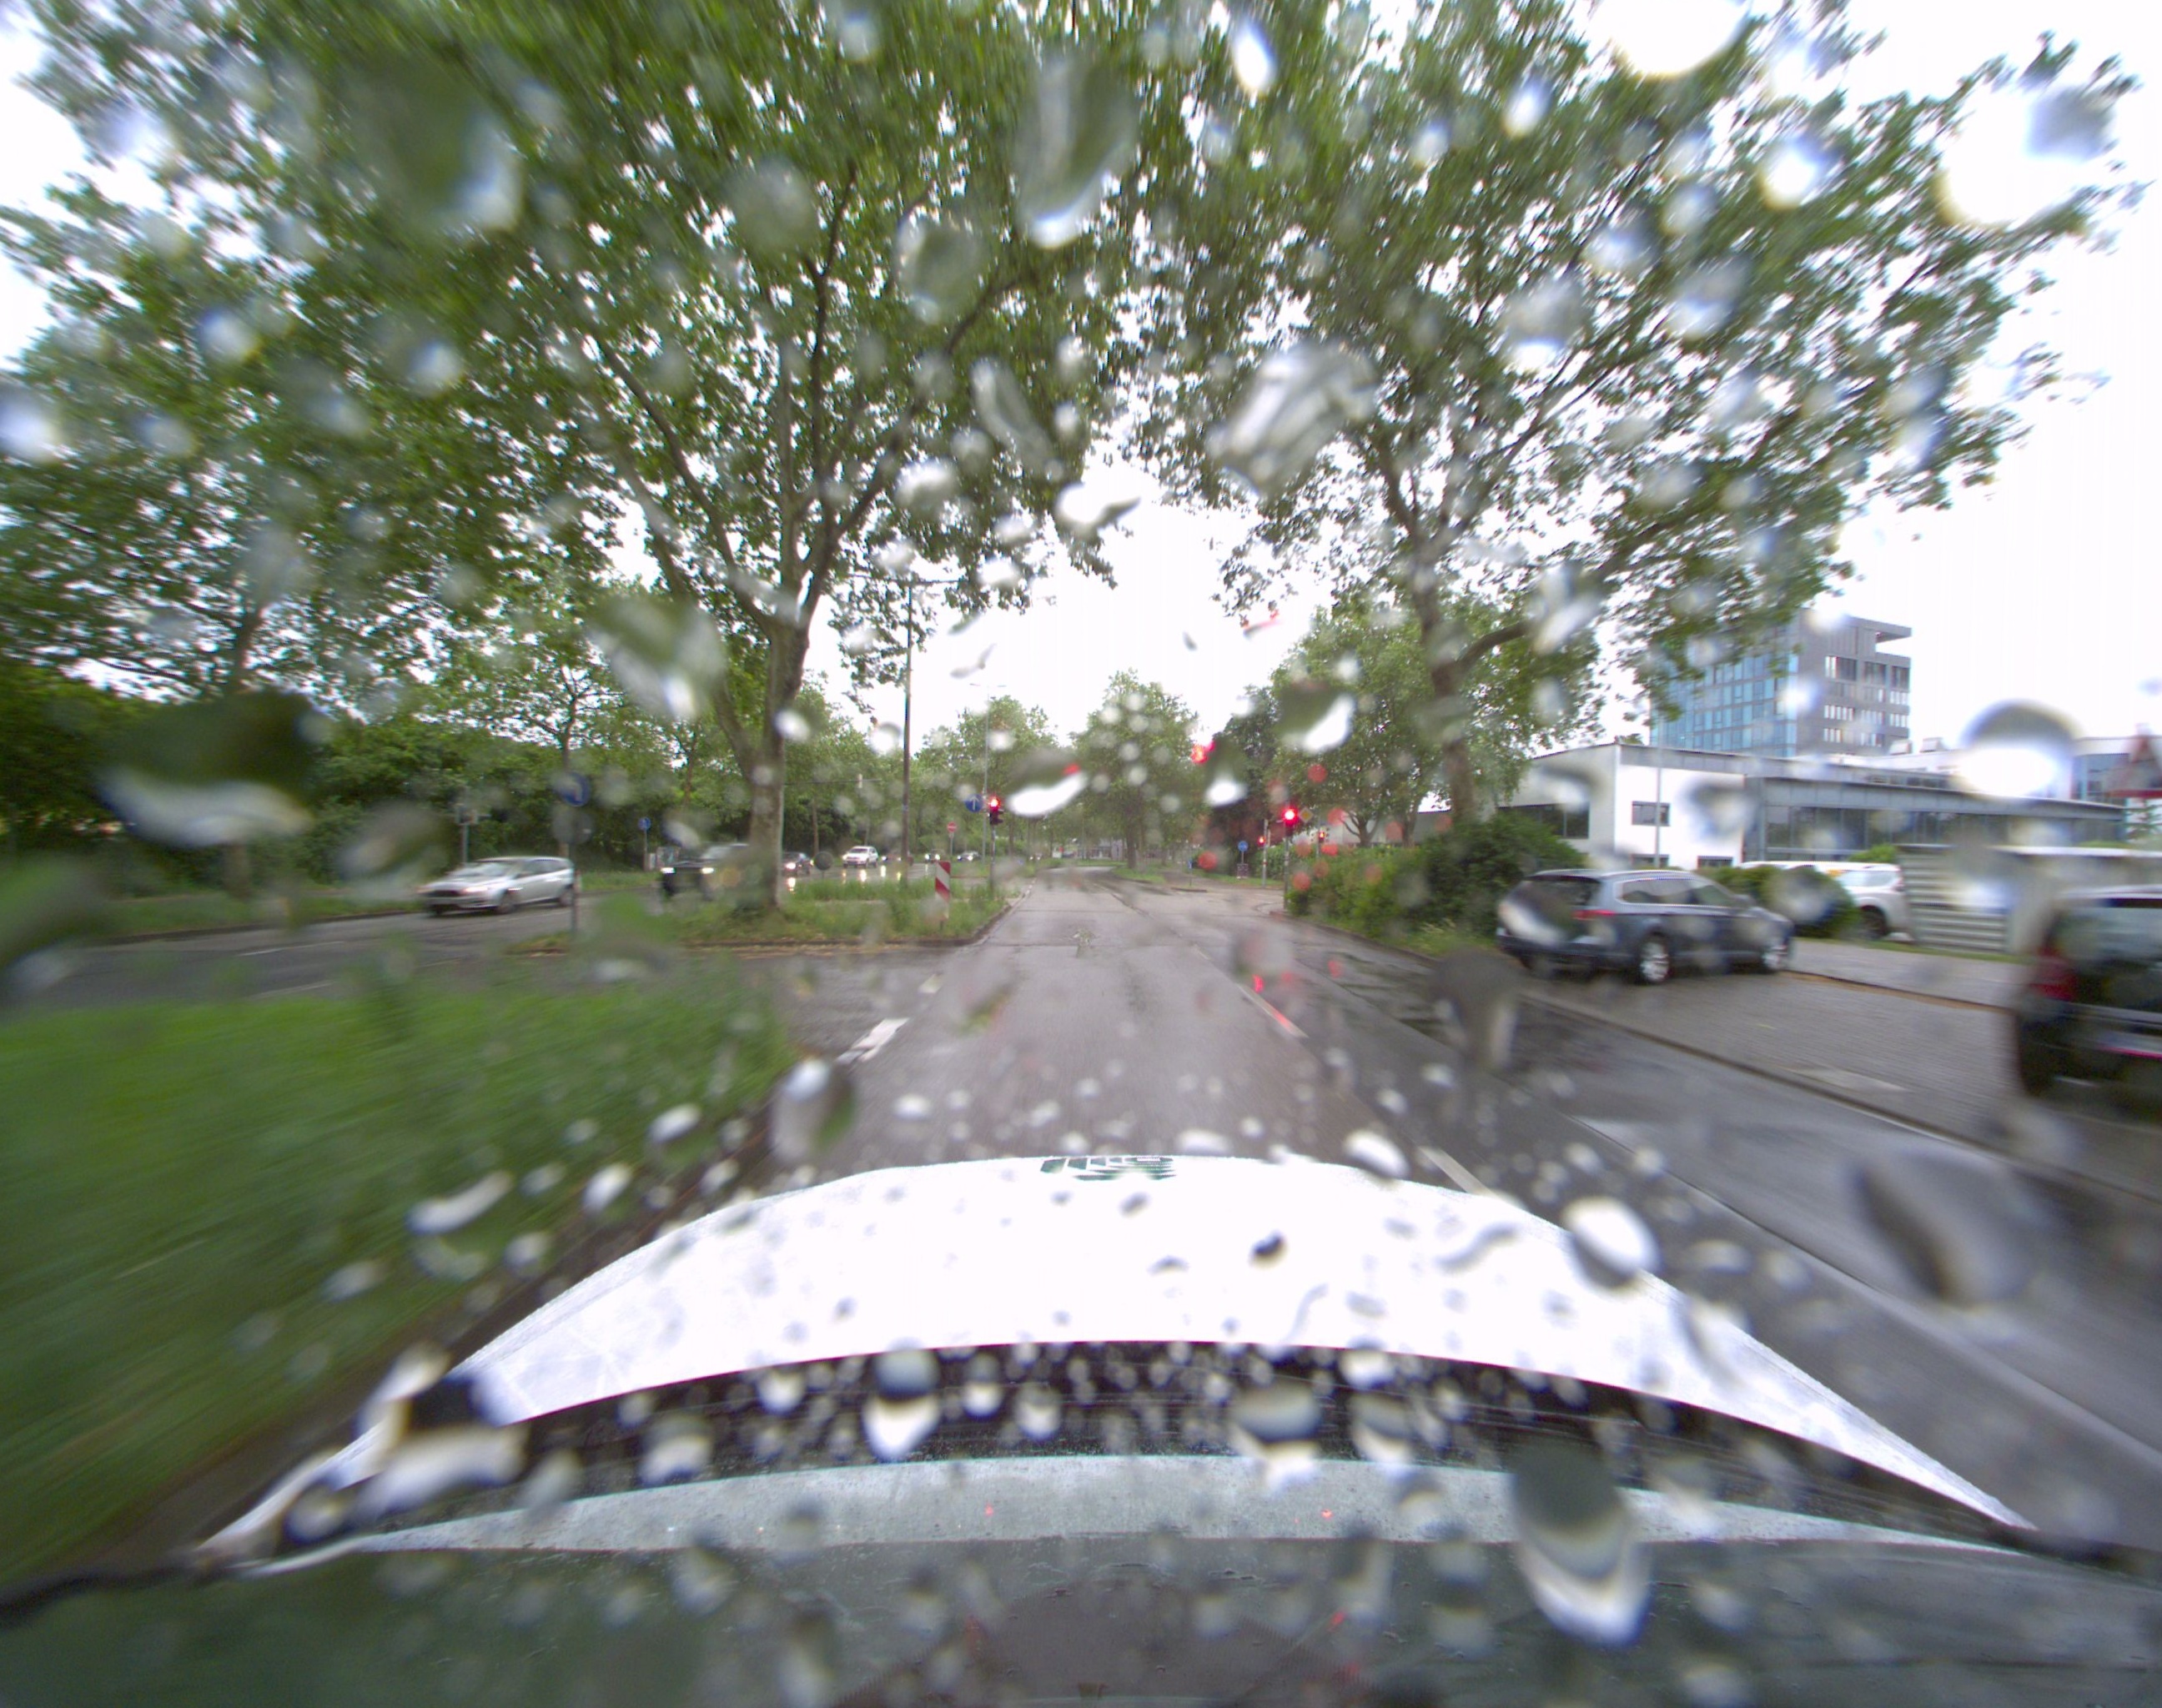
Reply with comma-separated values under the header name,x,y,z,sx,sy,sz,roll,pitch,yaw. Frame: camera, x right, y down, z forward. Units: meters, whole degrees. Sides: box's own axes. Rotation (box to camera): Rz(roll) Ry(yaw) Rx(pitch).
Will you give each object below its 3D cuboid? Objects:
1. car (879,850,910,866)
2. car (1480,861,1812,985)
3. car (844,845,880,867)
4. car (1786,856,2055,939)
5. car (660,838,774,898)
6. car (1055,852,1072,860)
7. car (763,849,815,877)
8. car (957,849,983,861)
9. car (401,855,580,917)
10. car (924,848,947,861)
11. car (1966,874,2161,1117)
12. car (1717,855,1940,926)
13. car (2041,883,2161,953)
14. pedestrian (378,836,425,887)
name,x,y,z,sx,sy,sz,roll,pitch,yaw
car,-16.692,0.360,73.192,1.738,1.408,4.443,1,0,0
car,7.963,0.871,11.449,4.501,1.459,1.735,1,0,-24
car,-16.969,0.173,63.294,1.739,1.631,4.440,1,0,-2
car,19.289,0.967,18.833,4.524,1.757,1.748,1,0,-2
car,-12.322,0.443,27.962,1.739,1.842,5.116,1,0,-2
car,-4.365,0.518,204.563,3.987,2.014,1.993,2,-2,-10
car,-17.184,0.483,48.158,1.740,1.438,4.438,1,1,-4
car,-13.078,0.129,96.005,1.576,1.373,4.276,1,0,12
car,-15.419,0.770,21.598,1.739,1.476,4.231,1,0,-2
car,-15.272,0.074,85.629,1.579,1.373,3.339,1,0,5
car,8.071,0.879,5.632,3.700,1.416,1.734,1,0,-27
car,19.812,0.949,21.696,4.528,1.757,1.778,1,0,-4
car,29.233,1.735,22.190,1.738,1.757,3.762,1,0,-1
pedestrian,-22.921,0.250,27.486,0.828,1.674,0.899,1,0,-2
